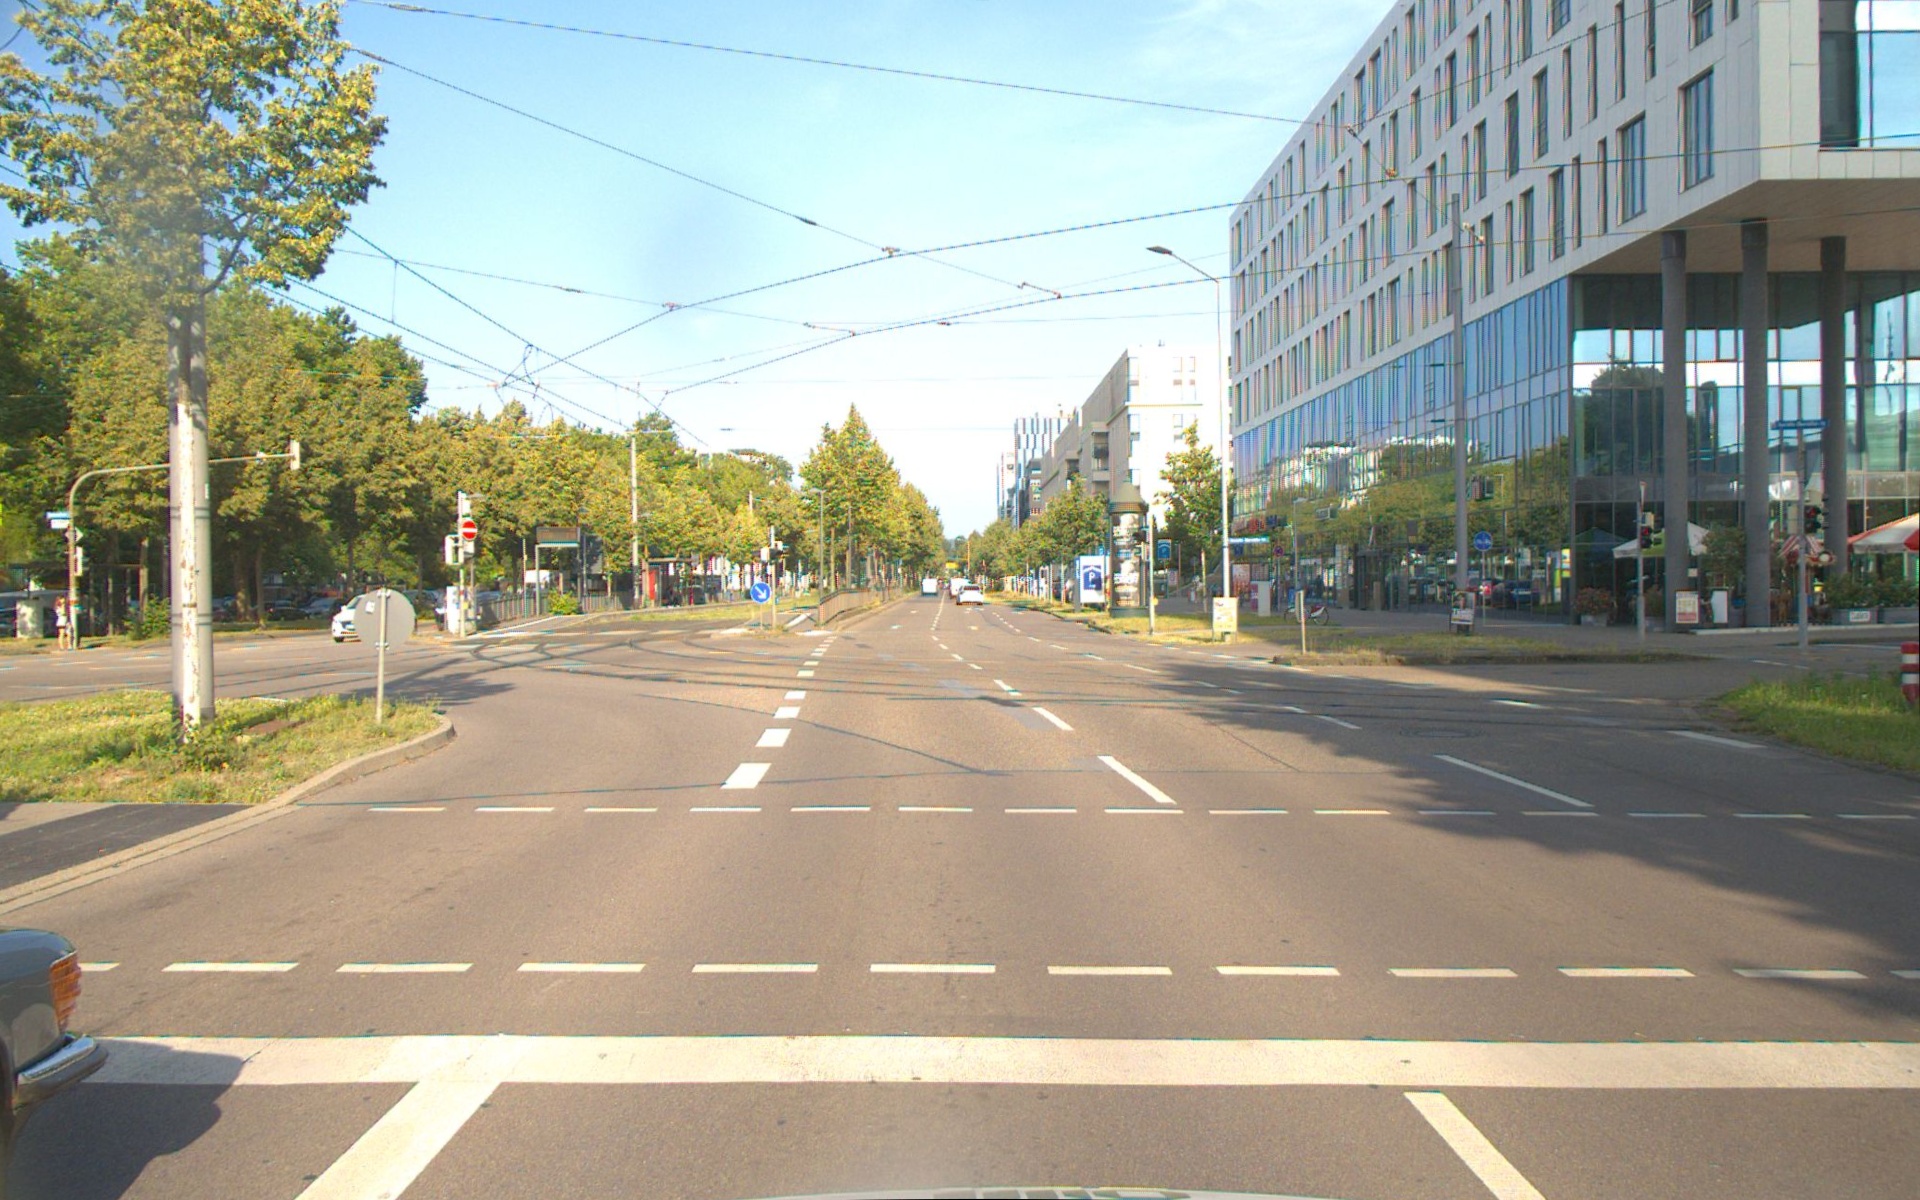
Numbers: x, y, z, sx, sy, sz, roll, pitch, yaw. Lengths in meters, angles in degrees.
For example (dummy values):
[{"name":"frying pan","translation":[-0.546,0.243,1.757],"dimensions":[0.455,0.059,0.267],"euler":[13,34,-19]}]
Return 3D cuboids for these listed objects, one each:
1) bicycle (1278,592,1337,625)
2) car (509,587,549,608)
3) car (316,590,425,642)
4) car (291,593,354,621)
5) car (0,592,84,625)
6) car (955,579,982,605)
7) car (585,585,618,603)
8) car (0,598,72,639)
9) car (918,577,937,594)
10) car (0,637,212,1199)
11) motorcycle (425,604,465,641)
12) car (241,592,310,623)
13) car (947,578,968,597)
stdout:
[{"name":"bicycle","translation":[11.732,0.274,55.854],"dimensions":[0.768,1.050,1.849],"euler":[-1,3,-44]},{"name":"car","translation":[-34.262,-0.209,131.503],"dimensions":[1.841,1.586,4.002],"euler":[-1,0,5]},{"name":"car","translation":[-18.981,0.505,53.436],"dimensions":[1.952,1.530,4.093],"euler":[-3,0,1]},{"name":"car","translation":[-37.153,0.390,96.543],"dimensions":[1.841,1.586,4.002],"euler":[-1,0,5]},{"name":"car","translation":[-46.188,0.405,83.244],"dimensions":[1.841,1.586,4.002],"euler":[-1,0,5]},{"name":"car","translation":[0.588,-0.553,114.399],"dimensions":[1.826,1.713,4.000],"euler":[1,1,0]},{"name":"car","translation":[-32.951,-0.569,151.936],"dimensions":[1.841,1.586,4.002],"euler":[-1,0,5]},{"name":"car","translation":[-38.951,0.758,68.564],"dimensions":[1.841,1.586,4.002],"euler":[-1,0,5]},{"name":"car","translation":[-3.493,-1.562,179.133],"dimensions":[1.973,1.713,4.000],"euler":[1,1,0]},{"name":"car","translation":[-2.587,0.796,1.671],"dimensions":[1.728,1.353,4.399],"euler":[1,1,-1]},{"name":"motorcycle","translation":[-19.027,0.829,61.137],"dimensions":[0.802,1.285,2.547],"euler":[0,1,-3]},{"name":"car","translation":[-37.607,0.392,90.967],"dimensions":[1.841,1.586,4.002],"euler":[-1,0,5]},{"name":"car","translation":[-0.227,-1.171,151.300],"dimensions":[1.826,1.713,4.000],"euler":[1,1,0]}]
